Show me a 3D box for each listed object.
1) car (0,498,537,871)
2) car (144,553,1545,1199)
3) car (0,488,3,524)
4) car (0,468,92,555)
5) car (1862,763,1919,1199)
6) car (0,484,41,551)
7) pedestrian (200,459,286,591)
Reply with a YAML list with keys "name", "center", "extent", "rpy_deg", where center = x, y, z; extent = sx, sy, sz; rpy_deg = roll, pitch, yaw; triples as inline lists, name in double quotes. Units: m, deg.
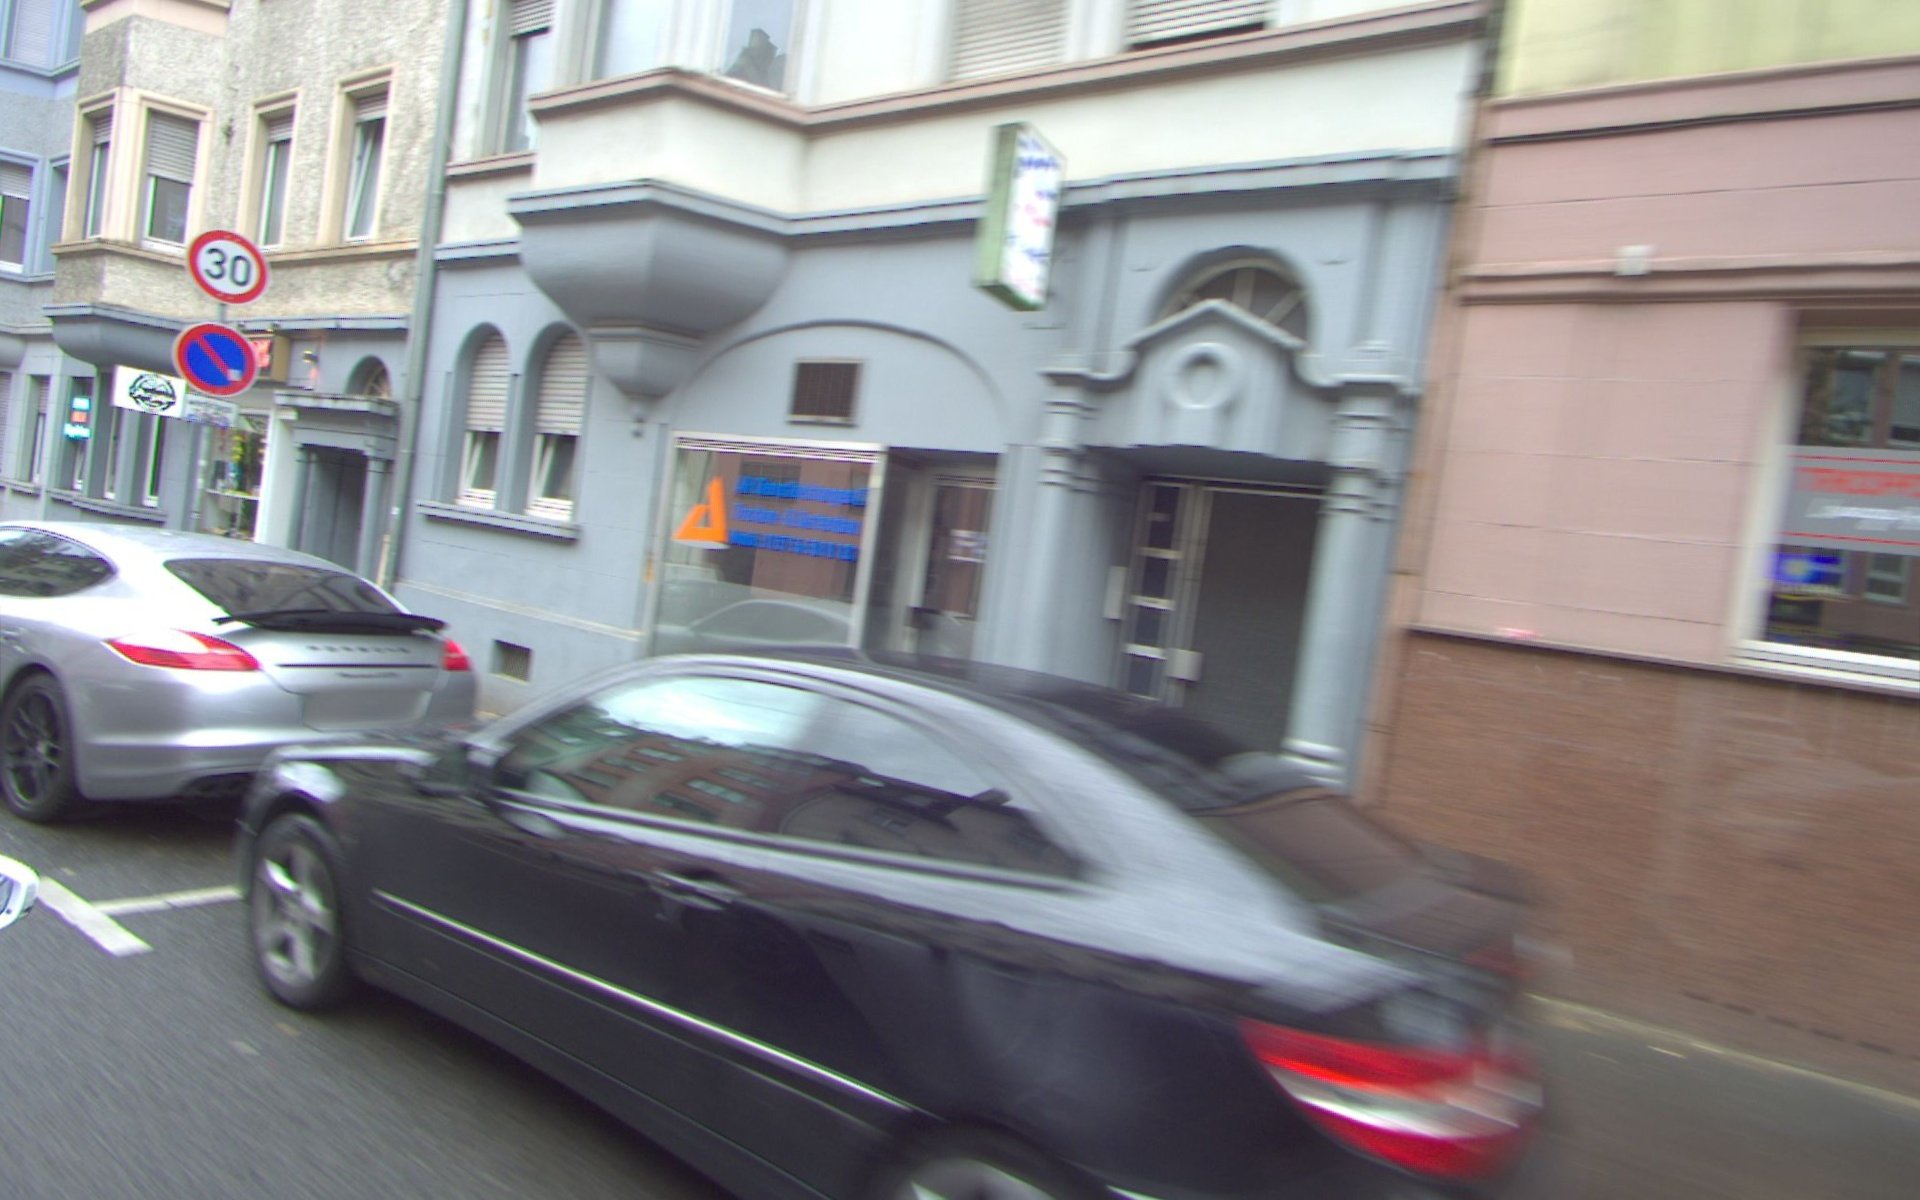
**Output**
- name: "car"
  center: [-5.074, 0.238, 6.096]
  extent: [4.690, 1.484, 1.881]
  rpy_deg: [7, -1, 26]
- name: "car"
  center: [-0.648, 0.802, 3.215]
  extent: [4.205, 1.391, 1.680]
  rpy_deg: [7, -1, 32]
- name: "car"
  center: [-30.207, -2.697, 28.568]
  extent: [1.644, 1.661, 4.276]
  rpy_deg: [9, 1, 44]
- name: "car"
  center: [-23.772, -2.337, 24.143]
  extent: [4.308, 1.827, 1.983]
  rpy_deg: [7, 1, -41]
- name: "car"
  center: [3.929, 1.065, 0.401]
  extent: [4.926, 1.851, 1.920]
  rpy_deg: [7, 1, 32]
- name: "car"
  center: [-27.411, -2.470, 26.724]
  extent: [1.644, 1.661, 4.276]
  rpy_deg: [9, 1, 44]
- name: "pedestrian"
  center: [-9.451, -0.973, 13.274]
  extent: [0.655, 1.641, 0.485]
  rpy_deg: [6, 2, 2]
